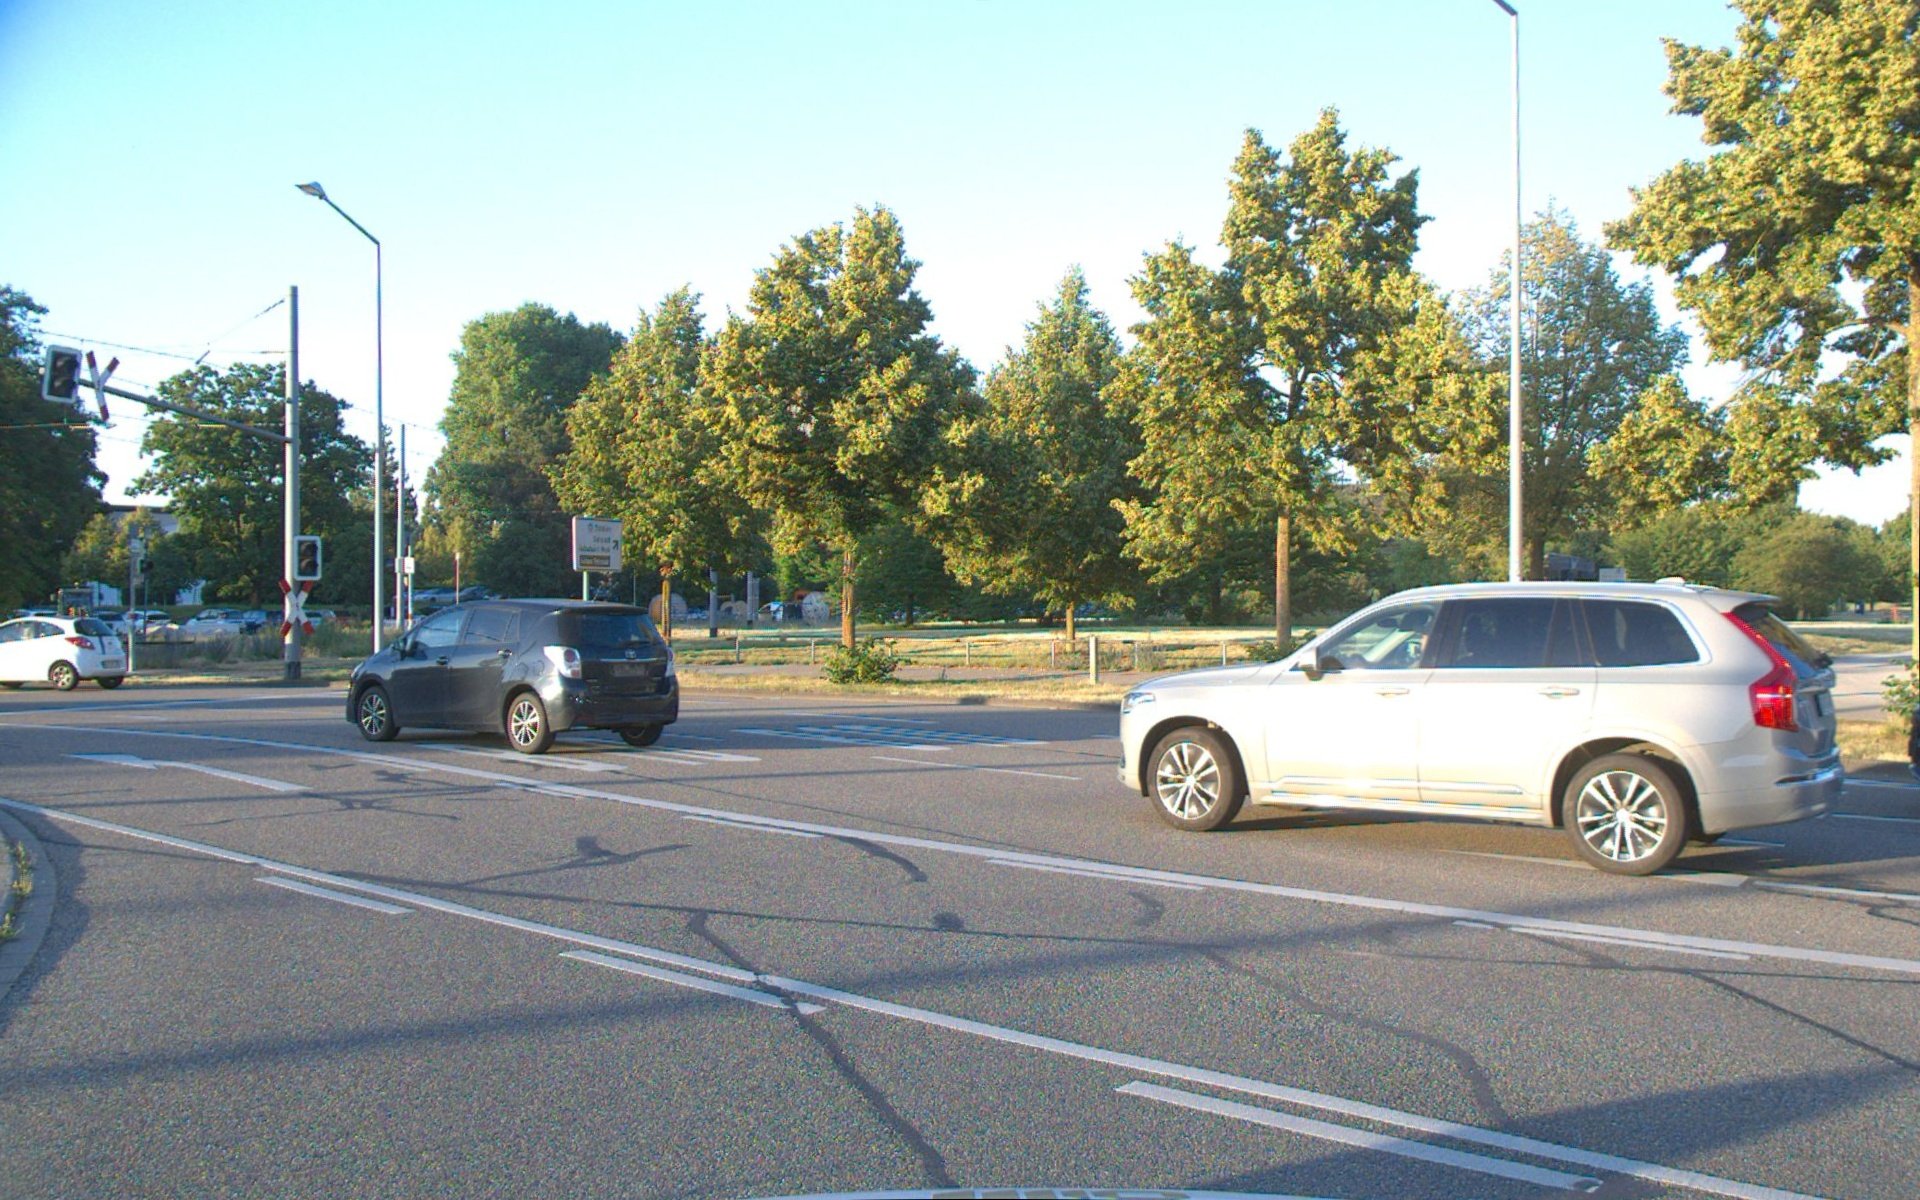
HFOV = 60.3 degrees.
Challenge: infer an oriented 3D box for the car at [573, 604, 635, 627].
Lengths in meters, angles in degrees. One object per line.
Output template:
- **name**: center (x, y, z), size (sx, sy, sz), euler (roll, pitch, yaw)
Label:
- **car**: center (-24.904, 1.062, 115.637), size (3.913, 1.578, 1.996), euler (0, 0, 30)

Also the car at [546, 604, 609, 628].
- **car**: center (-26.326, 1.088, 113.780), size (3.913, 1.578, 1.996), euler (0, 0, 30)

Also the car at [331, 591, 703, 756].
- **car**: center (-5.091, 0.760, 18.749), size (4.368, 1.662, 1.796), euler (0, -1, 37)

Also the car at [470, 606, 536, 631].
- **car**: center (-29.707, 1.207, 107.500), size (3.913, 1.578, 1.996), euler (0, 0, 30)

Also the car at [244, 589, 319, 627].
- **car**: center (-38.358, 0.440, 93.487), size (3.914, 2.135, 1.995), euler (0, 0, 31)

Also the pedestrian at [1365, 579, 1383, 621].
- **pedestrian**: center (16.353, 0.002, 65.350), size (0.522, 1.655, 0.578), euler (0, 0, 37)

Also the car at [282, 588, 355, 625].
- **car**: center (-37.263, 0.373, 96.098), size (3.914, 2.135, 1.995), euler (0, 0, 31)

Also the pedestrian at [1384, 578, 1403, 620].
- **pedestrian**: center (17.125, -0.038, 65.267), size (0.520, 1.655, 0.617), euler (0, 0, 38)

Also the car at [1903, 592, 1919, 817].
- **car**: center (9.866, 0.828, 12.322), size (4.838, 1.740, 1.908), euler (1, 1, 33)

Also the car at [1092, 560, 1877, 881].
- **car**: center (3.470, 0.690, 11.382), size (4.820, 1.785, 1.916), euler (0, -1, 35)

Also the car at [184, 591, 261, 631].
- **car**: center (-40.402, 0.594, 90.571), size (3.914, 2.135, 1.995), euler (0, 0, 31)

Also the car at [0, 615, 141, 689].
- **car**: center (-18.985, 1.056, 34.154), size (3.401, 1.468, 1.555), euler (0, -1, 8)
